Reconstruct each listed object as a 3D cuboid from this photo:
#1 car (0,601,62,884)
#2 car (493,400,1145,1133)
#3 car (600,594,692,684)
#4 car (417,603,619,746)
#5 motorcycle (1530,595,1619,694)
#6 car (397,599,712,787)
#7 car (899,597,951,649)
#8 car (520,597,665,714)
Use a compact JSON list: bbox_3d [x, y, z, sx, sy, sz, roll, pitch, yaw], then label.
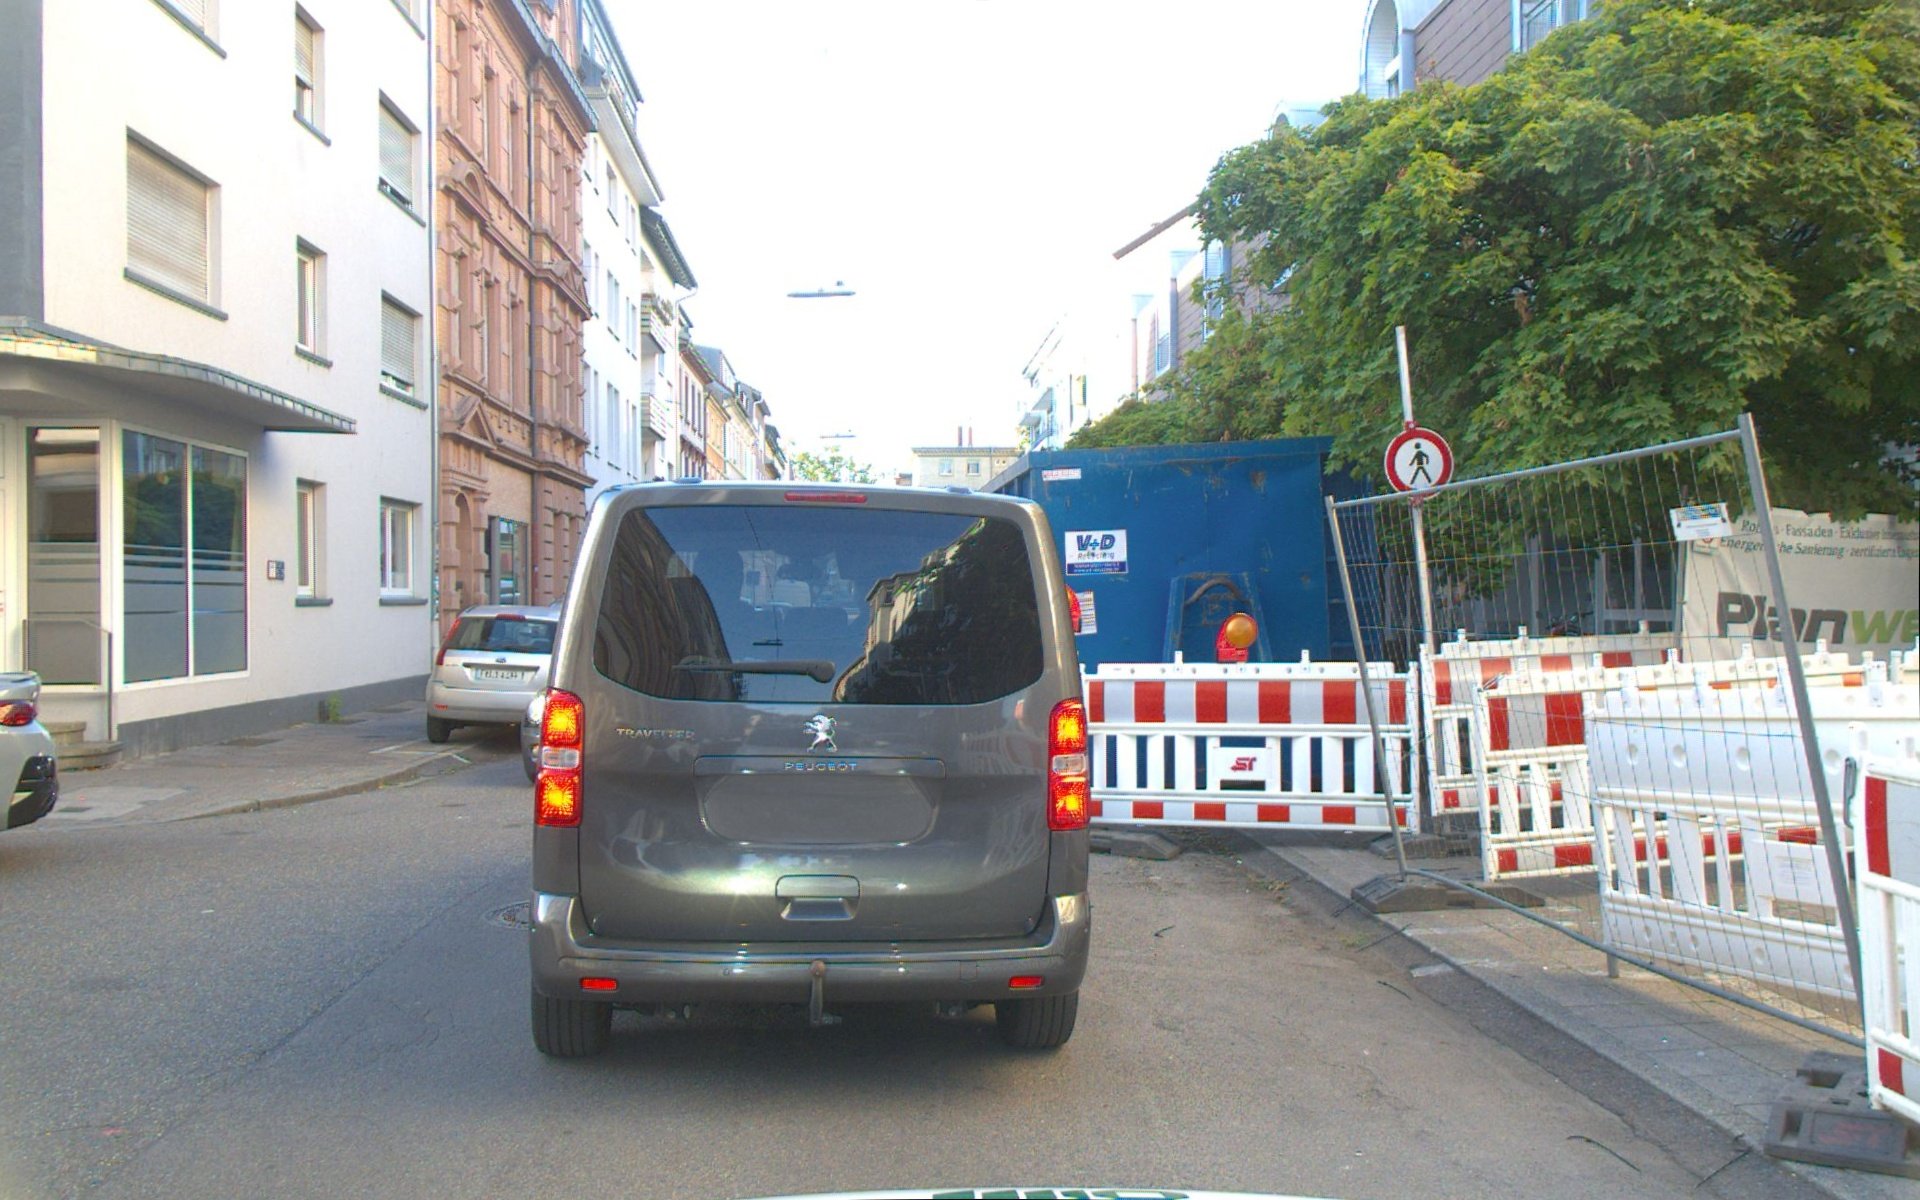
[{"bbox_3d":[-7.297,0.763,8.360,4.616,1.512,1.973,0,0,-39],"label":"car"},{"bbox_3d":[-0.539,0.465,6.818,1.821,2.049,3.997,-2,0,-4],"label":"car"},{"bbox_3d":[-5.831,0.696,30.902,1.368,1.616,2.791,0,0,-4],"label":"car"},{"bbox_3d":[-4.889,0.766,18.726,1.600,1.455,3.551,0,0,-5],"label":"car"},{"bbox_3d":[8.226,0.578,22.246,0.851,1.244,2.459,-1,-1,14],"label":"motorcycle"},{"bbox_3d":[-3.586,0.753,15.396,1.953,1.512,4.000,0,0,0],"label":"car"},{"bbox_3d":[-1.233,0.768,57.650,1.713,1.713,4.524,0,0,-1],"label":"car"},{"bbox_3d":[-5.304,0.756,24.249,1.525,1.535,3.594,2,0,-4],"label":"car"}]
